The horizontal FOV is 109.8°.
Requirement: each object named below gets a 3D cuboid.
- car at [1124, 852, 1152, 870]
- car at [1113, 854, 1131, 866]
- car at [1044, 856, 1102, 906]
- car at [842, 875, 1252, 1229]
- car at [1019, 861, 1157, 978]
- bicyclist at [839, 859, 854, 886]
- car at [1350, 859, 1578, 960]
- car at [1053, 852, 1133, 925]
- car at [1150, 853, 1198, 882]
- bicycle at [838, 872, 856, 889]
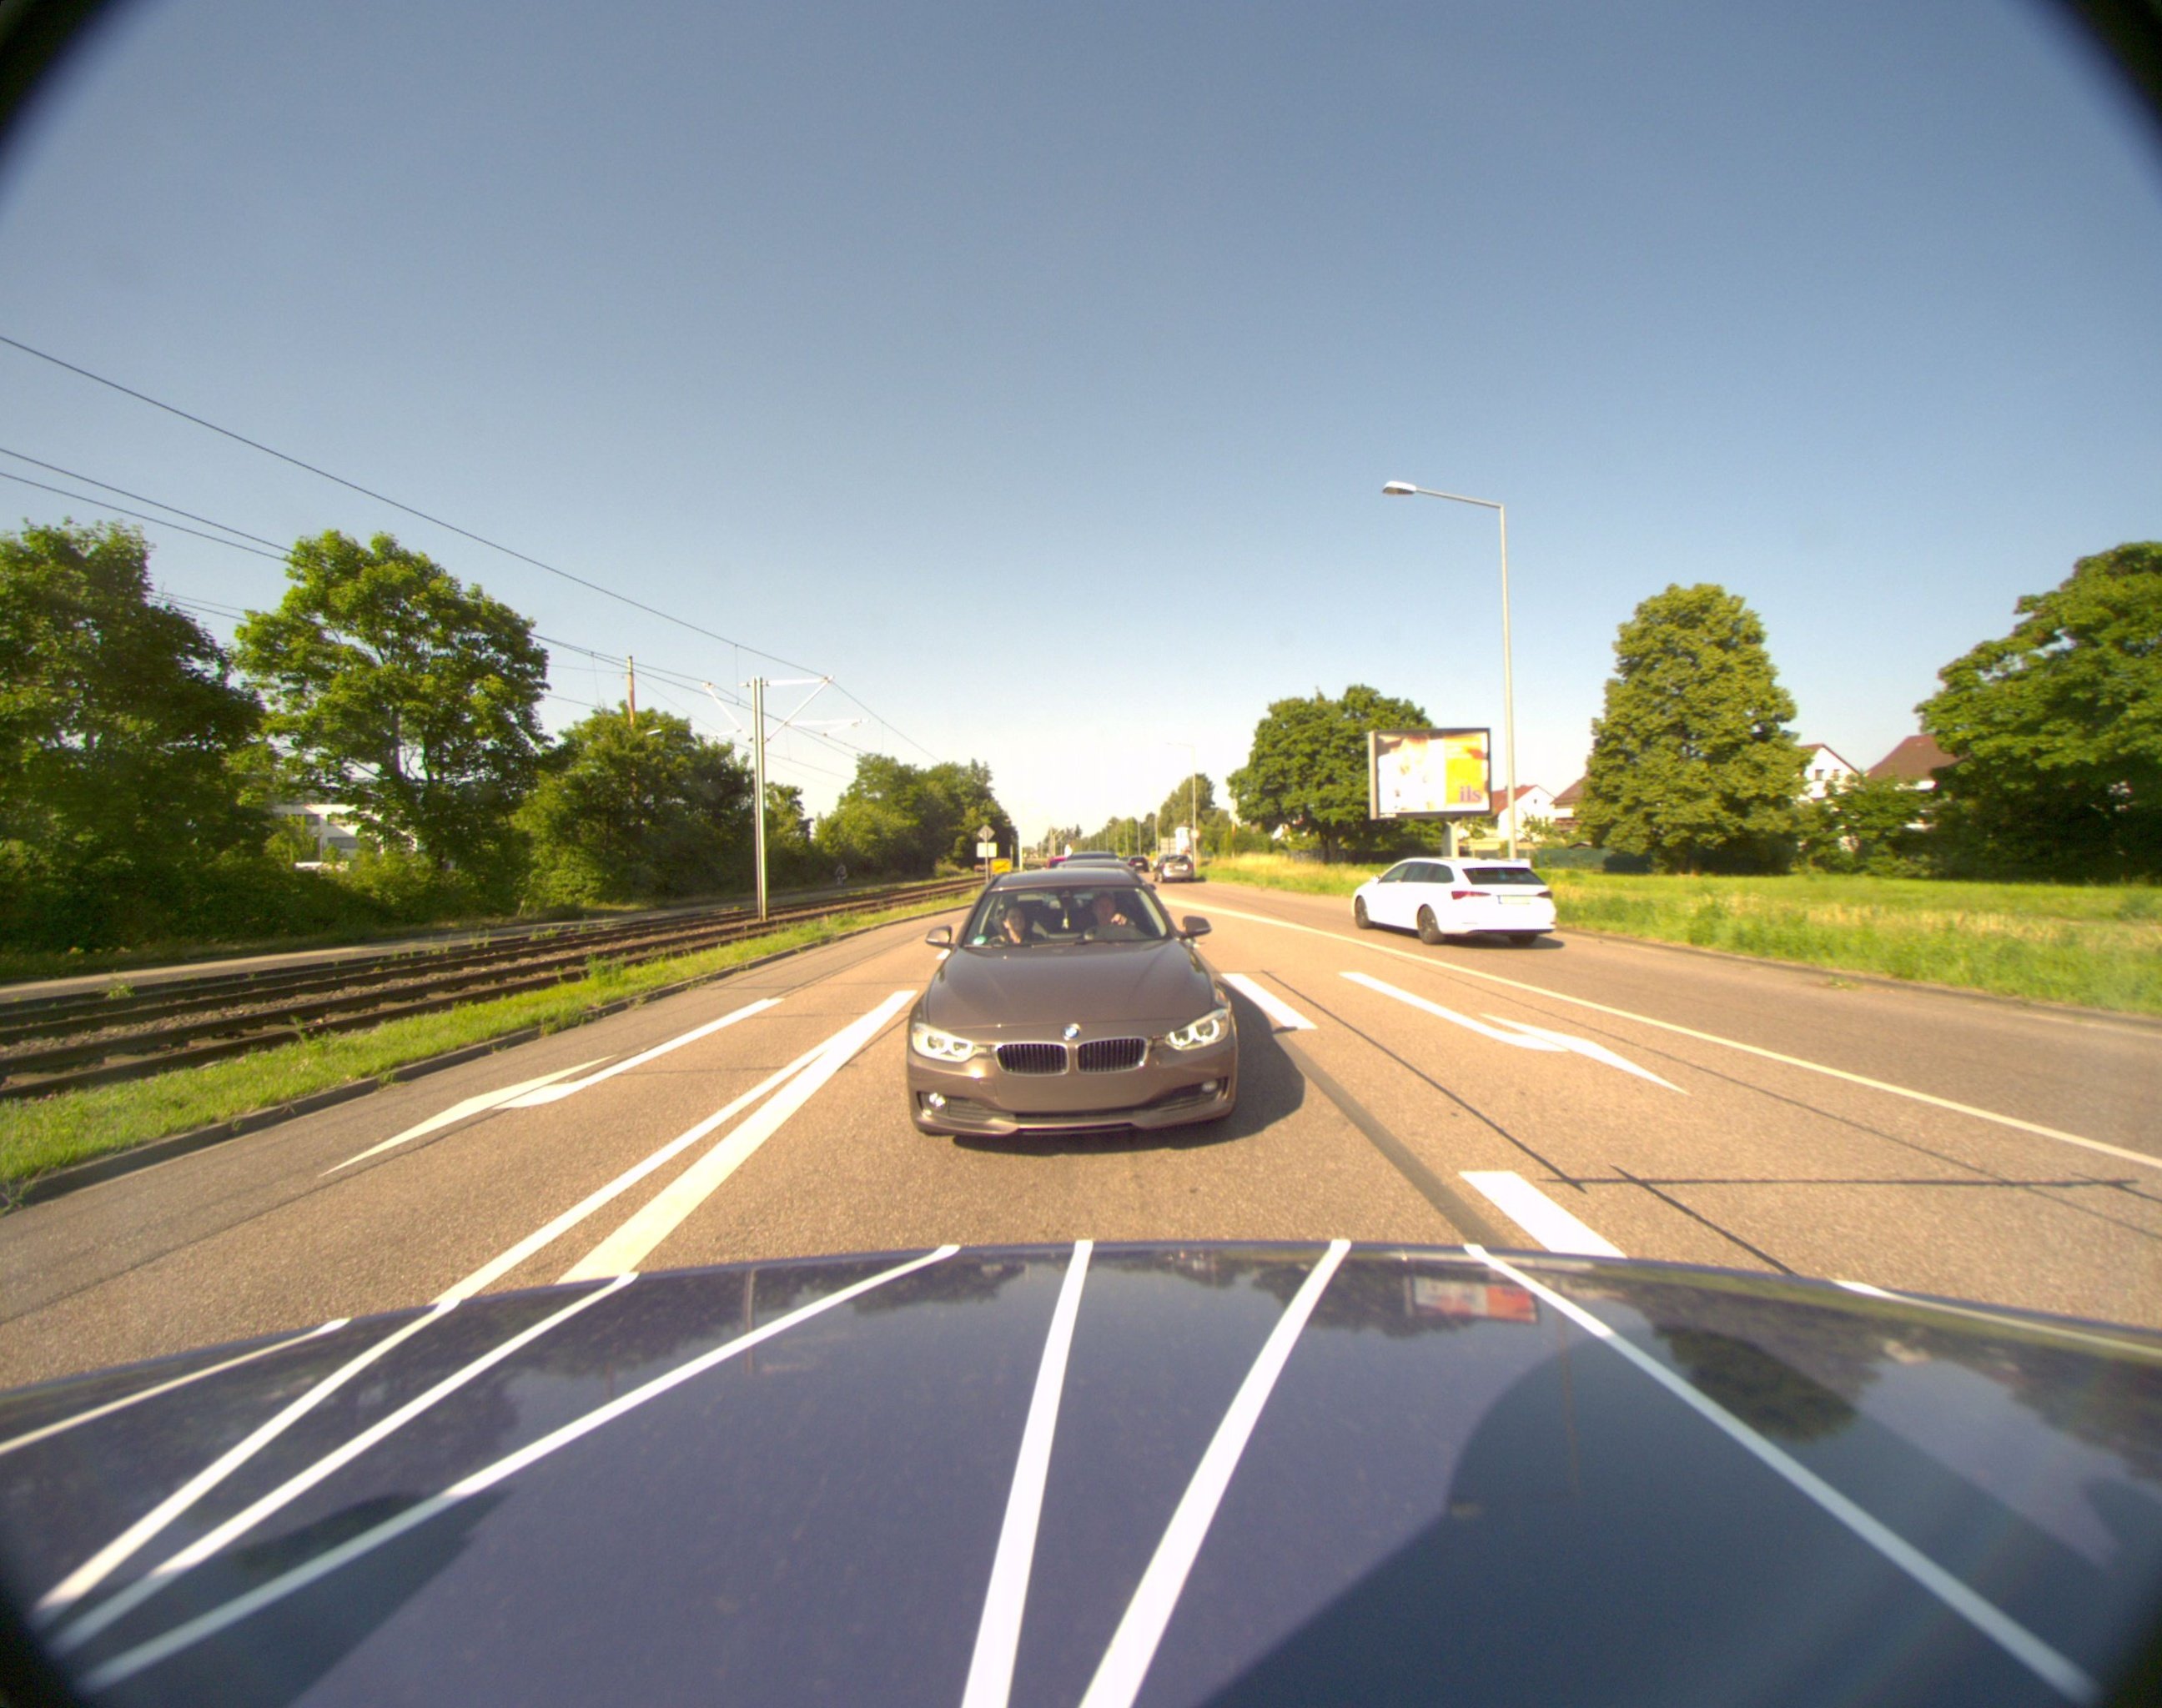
[{"bbox_3d":[4.835,0.597,64.866,1.784,1.469,4.285,-1,0,-3],"label":"car"},{"bbox_3d":[4.960,0.719,92.203,1.784,1.469,4.285,-1,0,-3],"label":"car"},{"bbox_3d":[-0.238,0.867,26.161,1.807,1.498,4.197,-1,0,0],"label":"car"},{"bbox_3d":[-0.128,0.973,5.710,1.821,1.416,4.461,-2,0,1],"label":"car"},{"bbox_3d":[0.115,0.906,12.540,1.821,1.481,4.611,-1,0,0],"label":"car"},{"bbox_3d":[-15.949,1.253,51.687,0.708,1.797,0.718,-1,1,3],"label":"bicyclist"},{"bbox_3d":[6.492,0.849,13.520,1.784,1.469,4.271,0,0,-2],"label":"car"},{"bbox_3d":[0.296,0.796,20.183,1.821,1.641,4.611,-2,0,0],"label":"car"},{"bbox_3d":[5.000,0.705,41.469,1.784,1.469,4.285,-2,0,-4],"label":"car"},{"bbox_3d":[-15.928,1.778,51.667,0.547,1.041,1.874,-1,0,3],"label":"bicycle"}]
